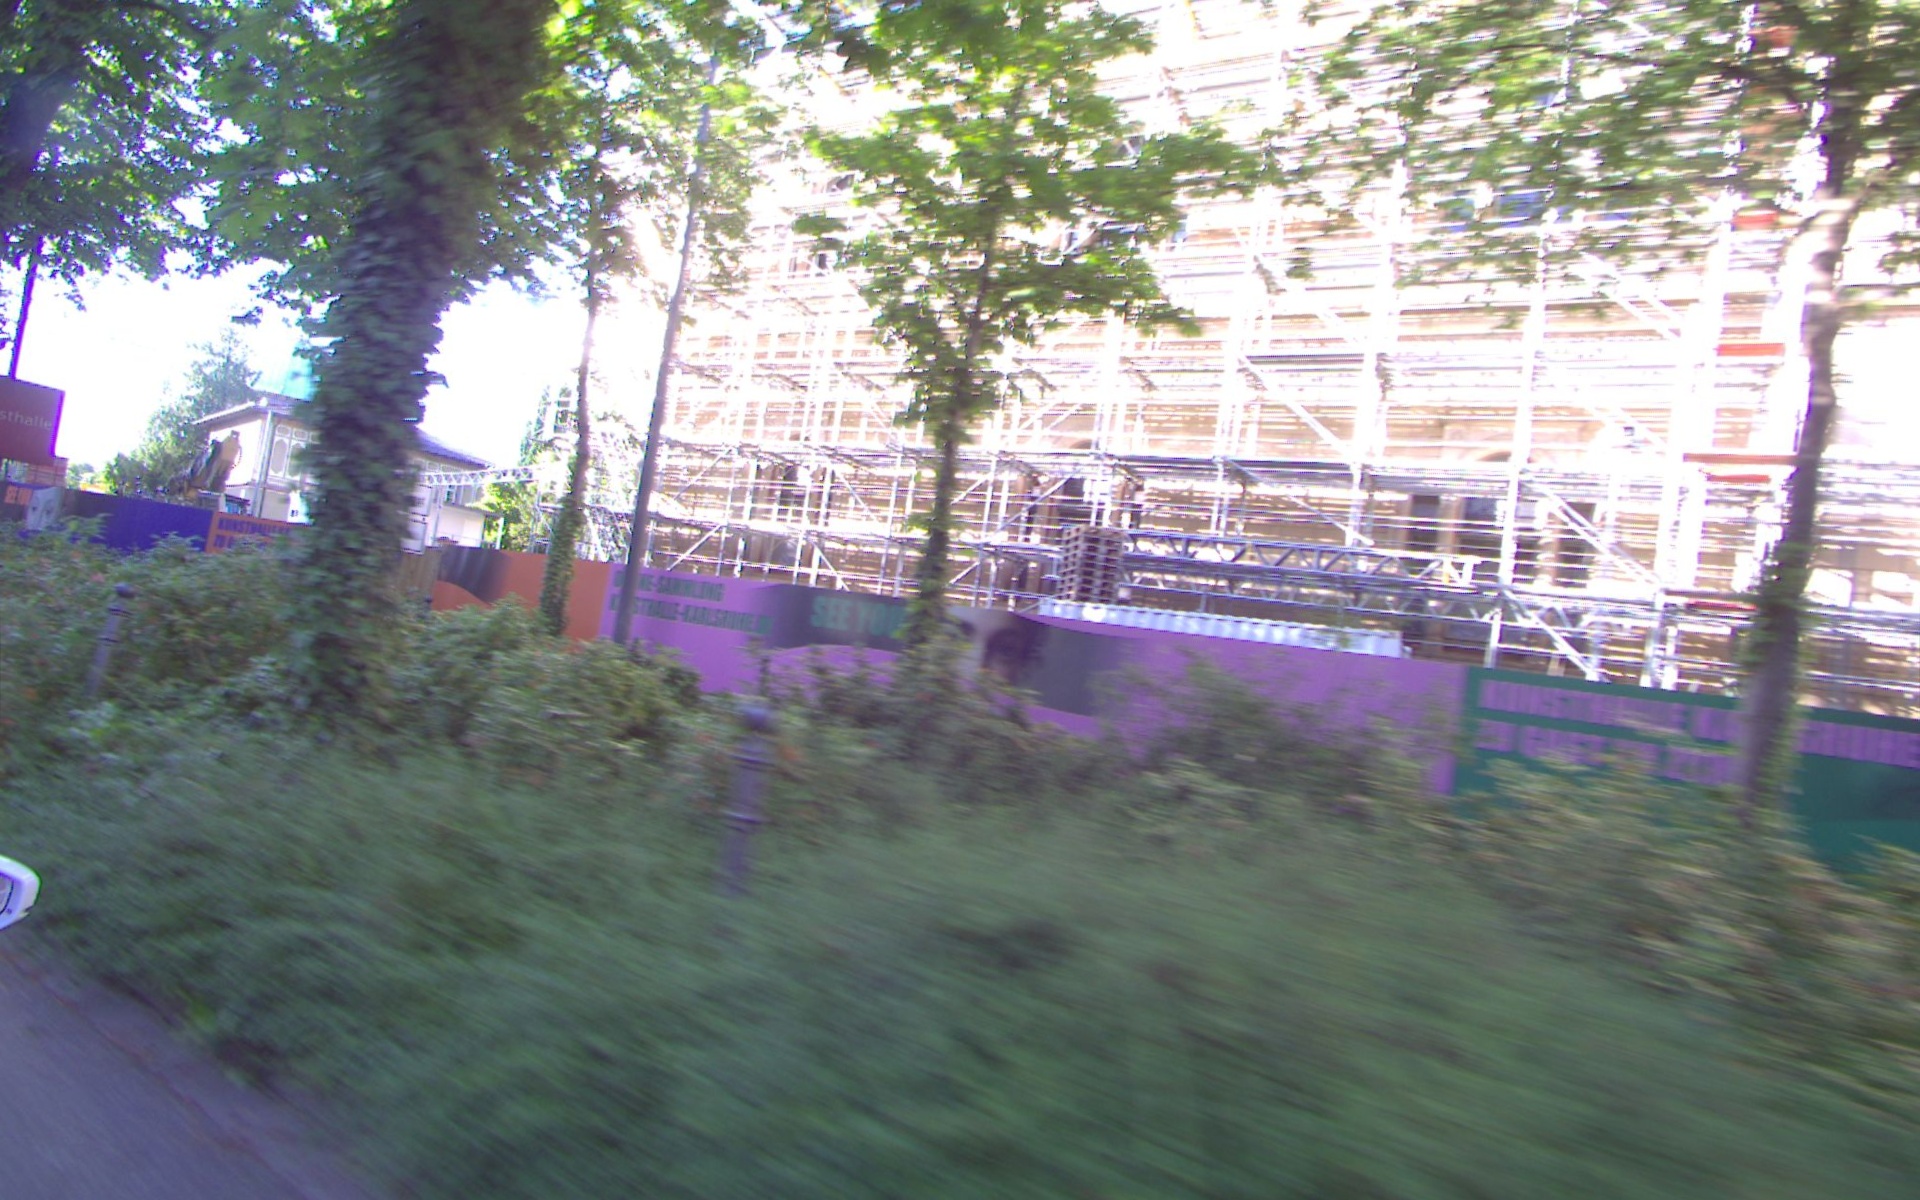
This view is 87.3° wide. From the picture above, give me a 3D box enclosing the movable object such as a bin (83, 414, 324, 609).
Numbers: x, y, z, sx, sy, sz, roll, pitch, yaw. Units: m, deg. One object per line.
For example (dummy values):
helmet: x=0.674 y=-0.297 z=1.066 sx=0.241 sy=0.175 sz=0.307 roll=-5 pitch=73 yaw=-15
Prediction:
movable object such as a bin: x=-22.100 y=-2.551 z=29.224 sx=7.789 sy=4.590 sz=3.309 roll=6 pitch=-3 yaw=39
